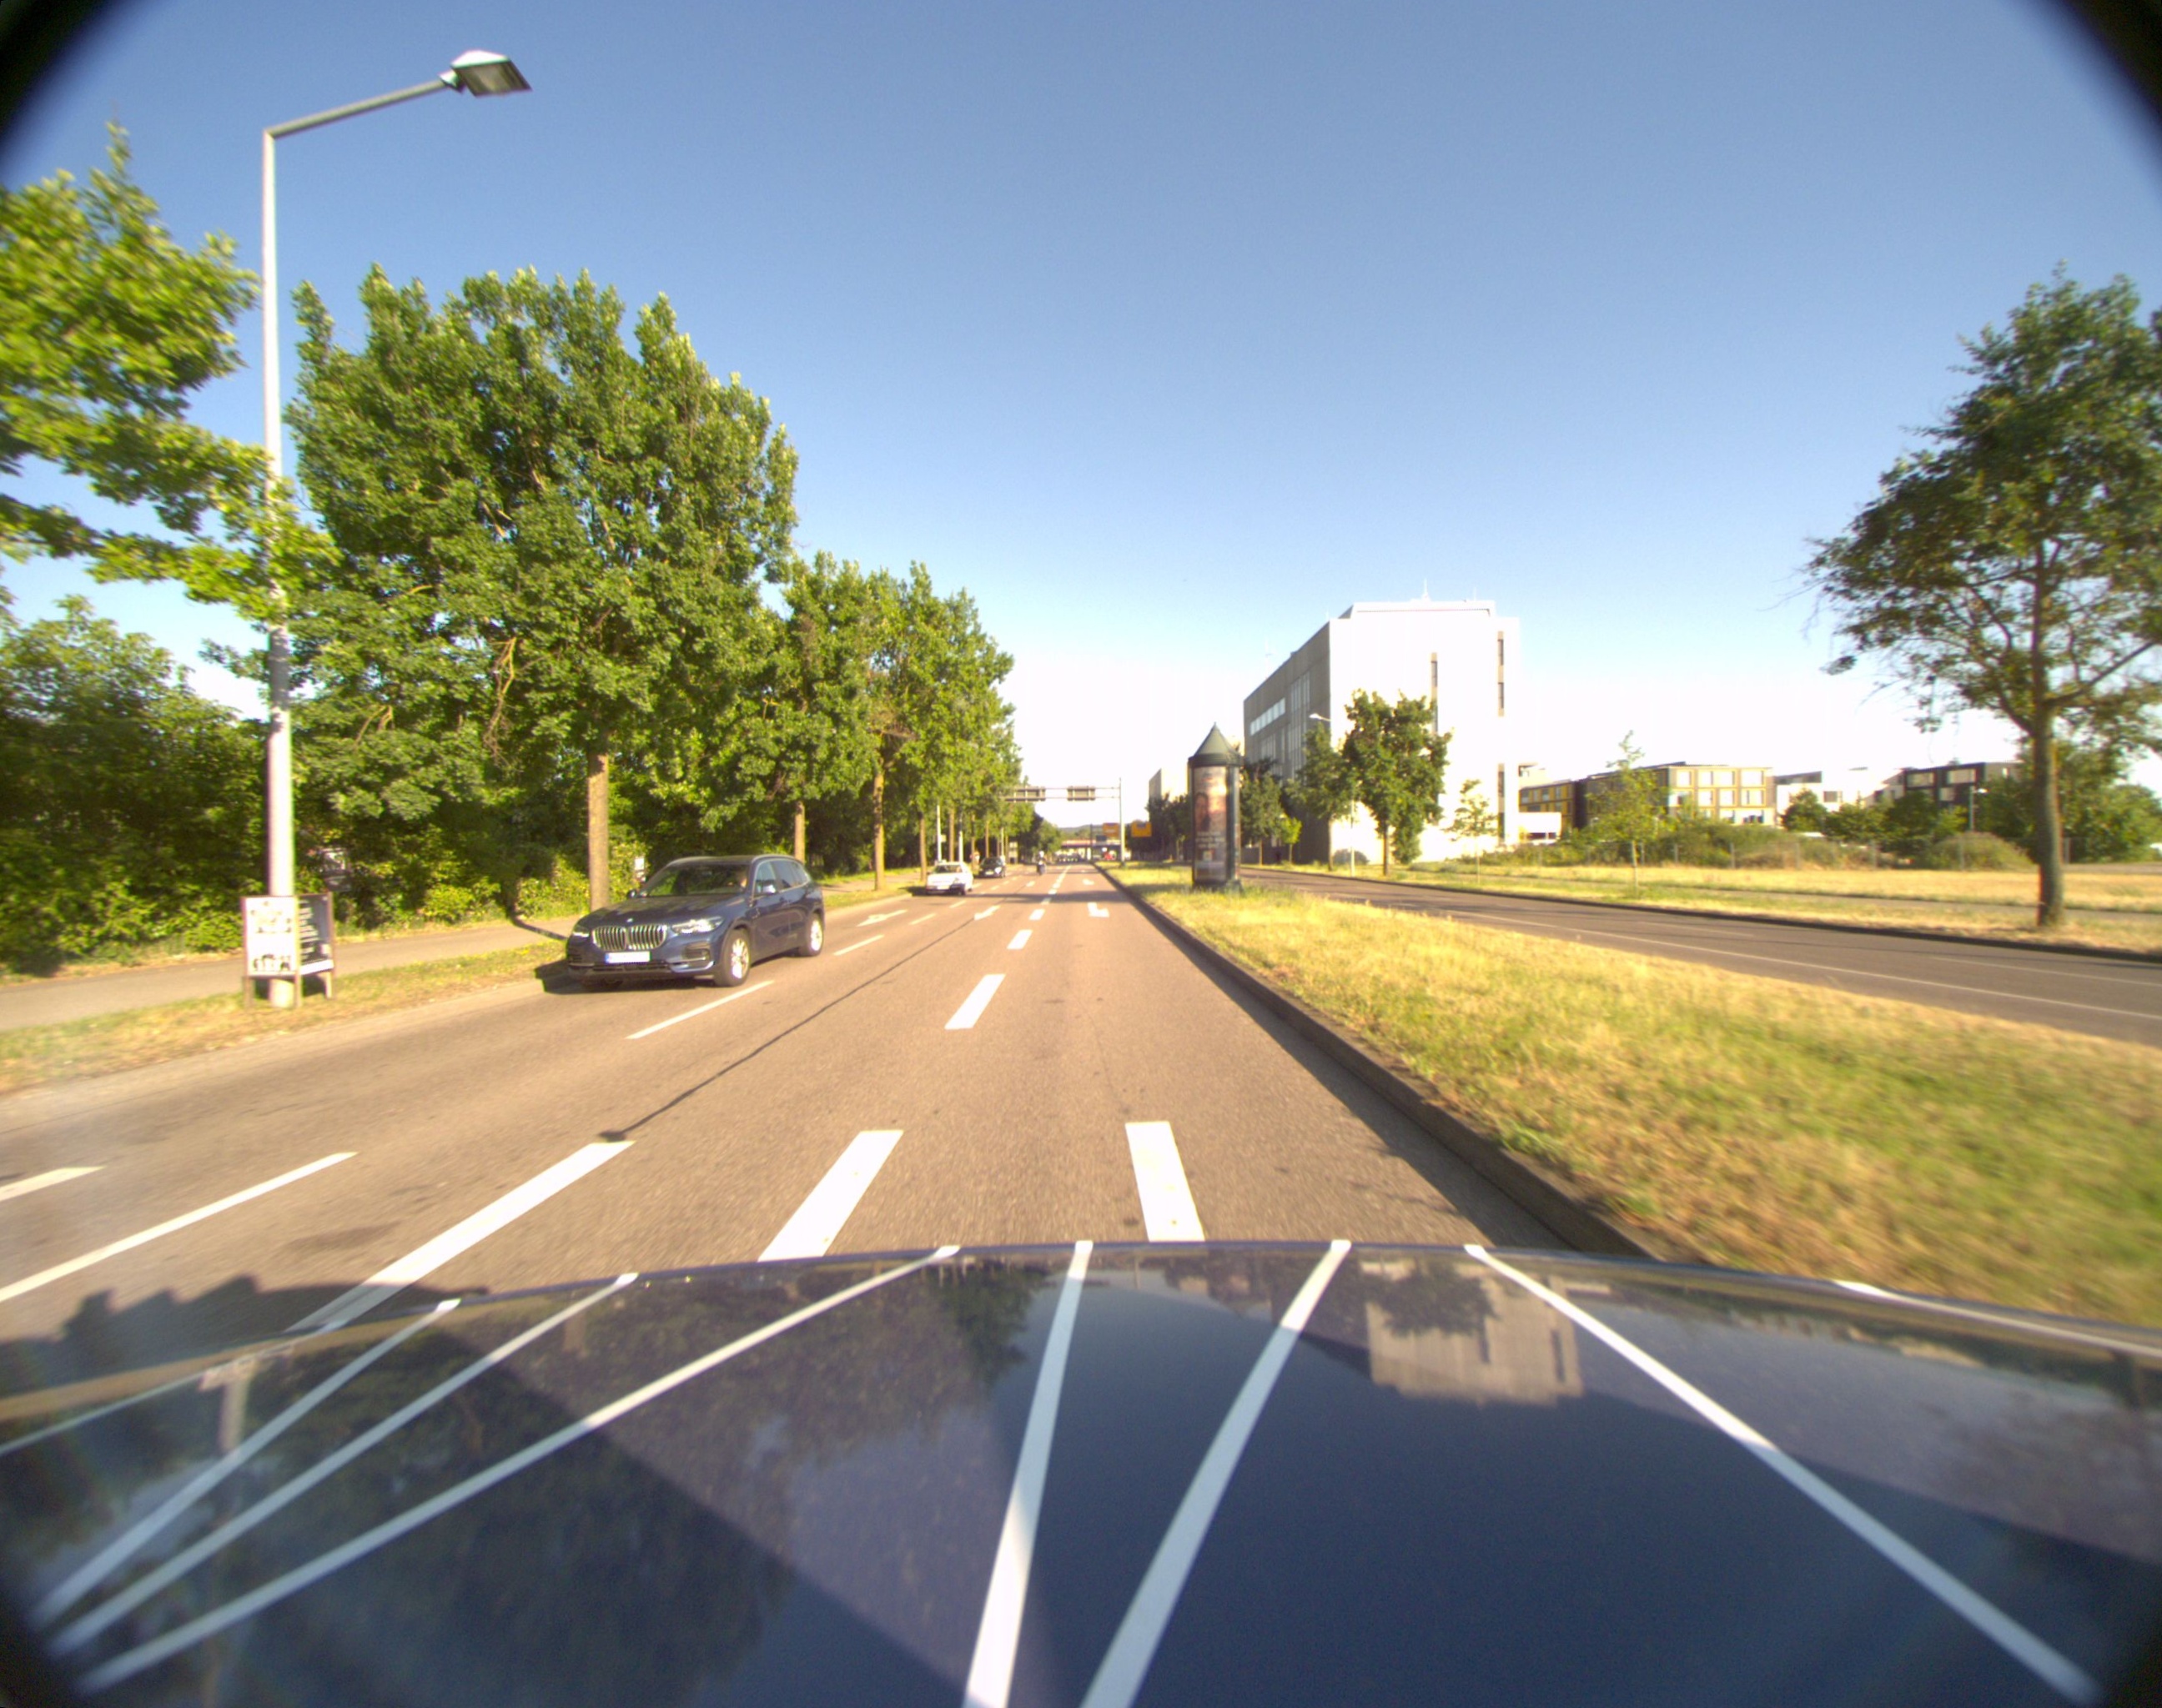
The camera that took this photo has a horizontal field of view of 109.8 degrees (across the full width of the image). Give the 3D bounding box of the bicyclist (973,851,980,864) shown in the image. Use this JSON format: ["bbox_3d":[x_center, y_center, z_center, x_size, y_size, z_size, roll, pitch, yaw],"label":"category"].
[{"bbox_3d":[-12.424,0.406,90.462,0.614,1.493,0.848,-1,1,2],"label":"bicyclist"}]

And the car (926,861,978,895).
[{"bbox_3d":[-5.706,1.061,34.058,1.615,1.390,4.038,-1,-1,0],"label":"car"}]

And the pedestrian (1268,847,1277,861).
[{"bbox_3d":[21.852,0.014,86.808,0.778,1.592,0.909,-1,1,1],"label":"pedestrian"}]

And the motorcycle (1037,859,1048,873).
[{"bbox_3d":[-2.801,0.858,55.320,0.749,0.977,2.140,-1,0,-1],"label":"motorcycle"}]

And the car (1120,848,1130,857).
[{"bbox_3d":[8.268,-0.254,142.323,1.566,1.565,3.411,-1,1,-3],"label":"car"}]

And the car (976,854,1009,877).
[{"bbox_3d":[-6.009,0.762,51.991,1.726,1.490,4.213,-2,0,-1],"label":"car"}]

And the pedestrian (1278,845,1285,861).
[{"bbox_3d":[22.738,-0.086,86.096,0.634,1.830,0.716,-1,1,1],"label":"pedestrian"}]

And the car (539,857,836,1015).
[{"bbox_3d":[-5.393,0.981,11.303,1.960,1.717,4.698,-2,1,-1],"label":"car"}]

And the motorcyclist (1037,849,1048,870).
[{"bbox_3d":[-2.797,0.418,55.446,0.734,1.503,0.919,0,1,-1],"label":"motorcyclist"}]
